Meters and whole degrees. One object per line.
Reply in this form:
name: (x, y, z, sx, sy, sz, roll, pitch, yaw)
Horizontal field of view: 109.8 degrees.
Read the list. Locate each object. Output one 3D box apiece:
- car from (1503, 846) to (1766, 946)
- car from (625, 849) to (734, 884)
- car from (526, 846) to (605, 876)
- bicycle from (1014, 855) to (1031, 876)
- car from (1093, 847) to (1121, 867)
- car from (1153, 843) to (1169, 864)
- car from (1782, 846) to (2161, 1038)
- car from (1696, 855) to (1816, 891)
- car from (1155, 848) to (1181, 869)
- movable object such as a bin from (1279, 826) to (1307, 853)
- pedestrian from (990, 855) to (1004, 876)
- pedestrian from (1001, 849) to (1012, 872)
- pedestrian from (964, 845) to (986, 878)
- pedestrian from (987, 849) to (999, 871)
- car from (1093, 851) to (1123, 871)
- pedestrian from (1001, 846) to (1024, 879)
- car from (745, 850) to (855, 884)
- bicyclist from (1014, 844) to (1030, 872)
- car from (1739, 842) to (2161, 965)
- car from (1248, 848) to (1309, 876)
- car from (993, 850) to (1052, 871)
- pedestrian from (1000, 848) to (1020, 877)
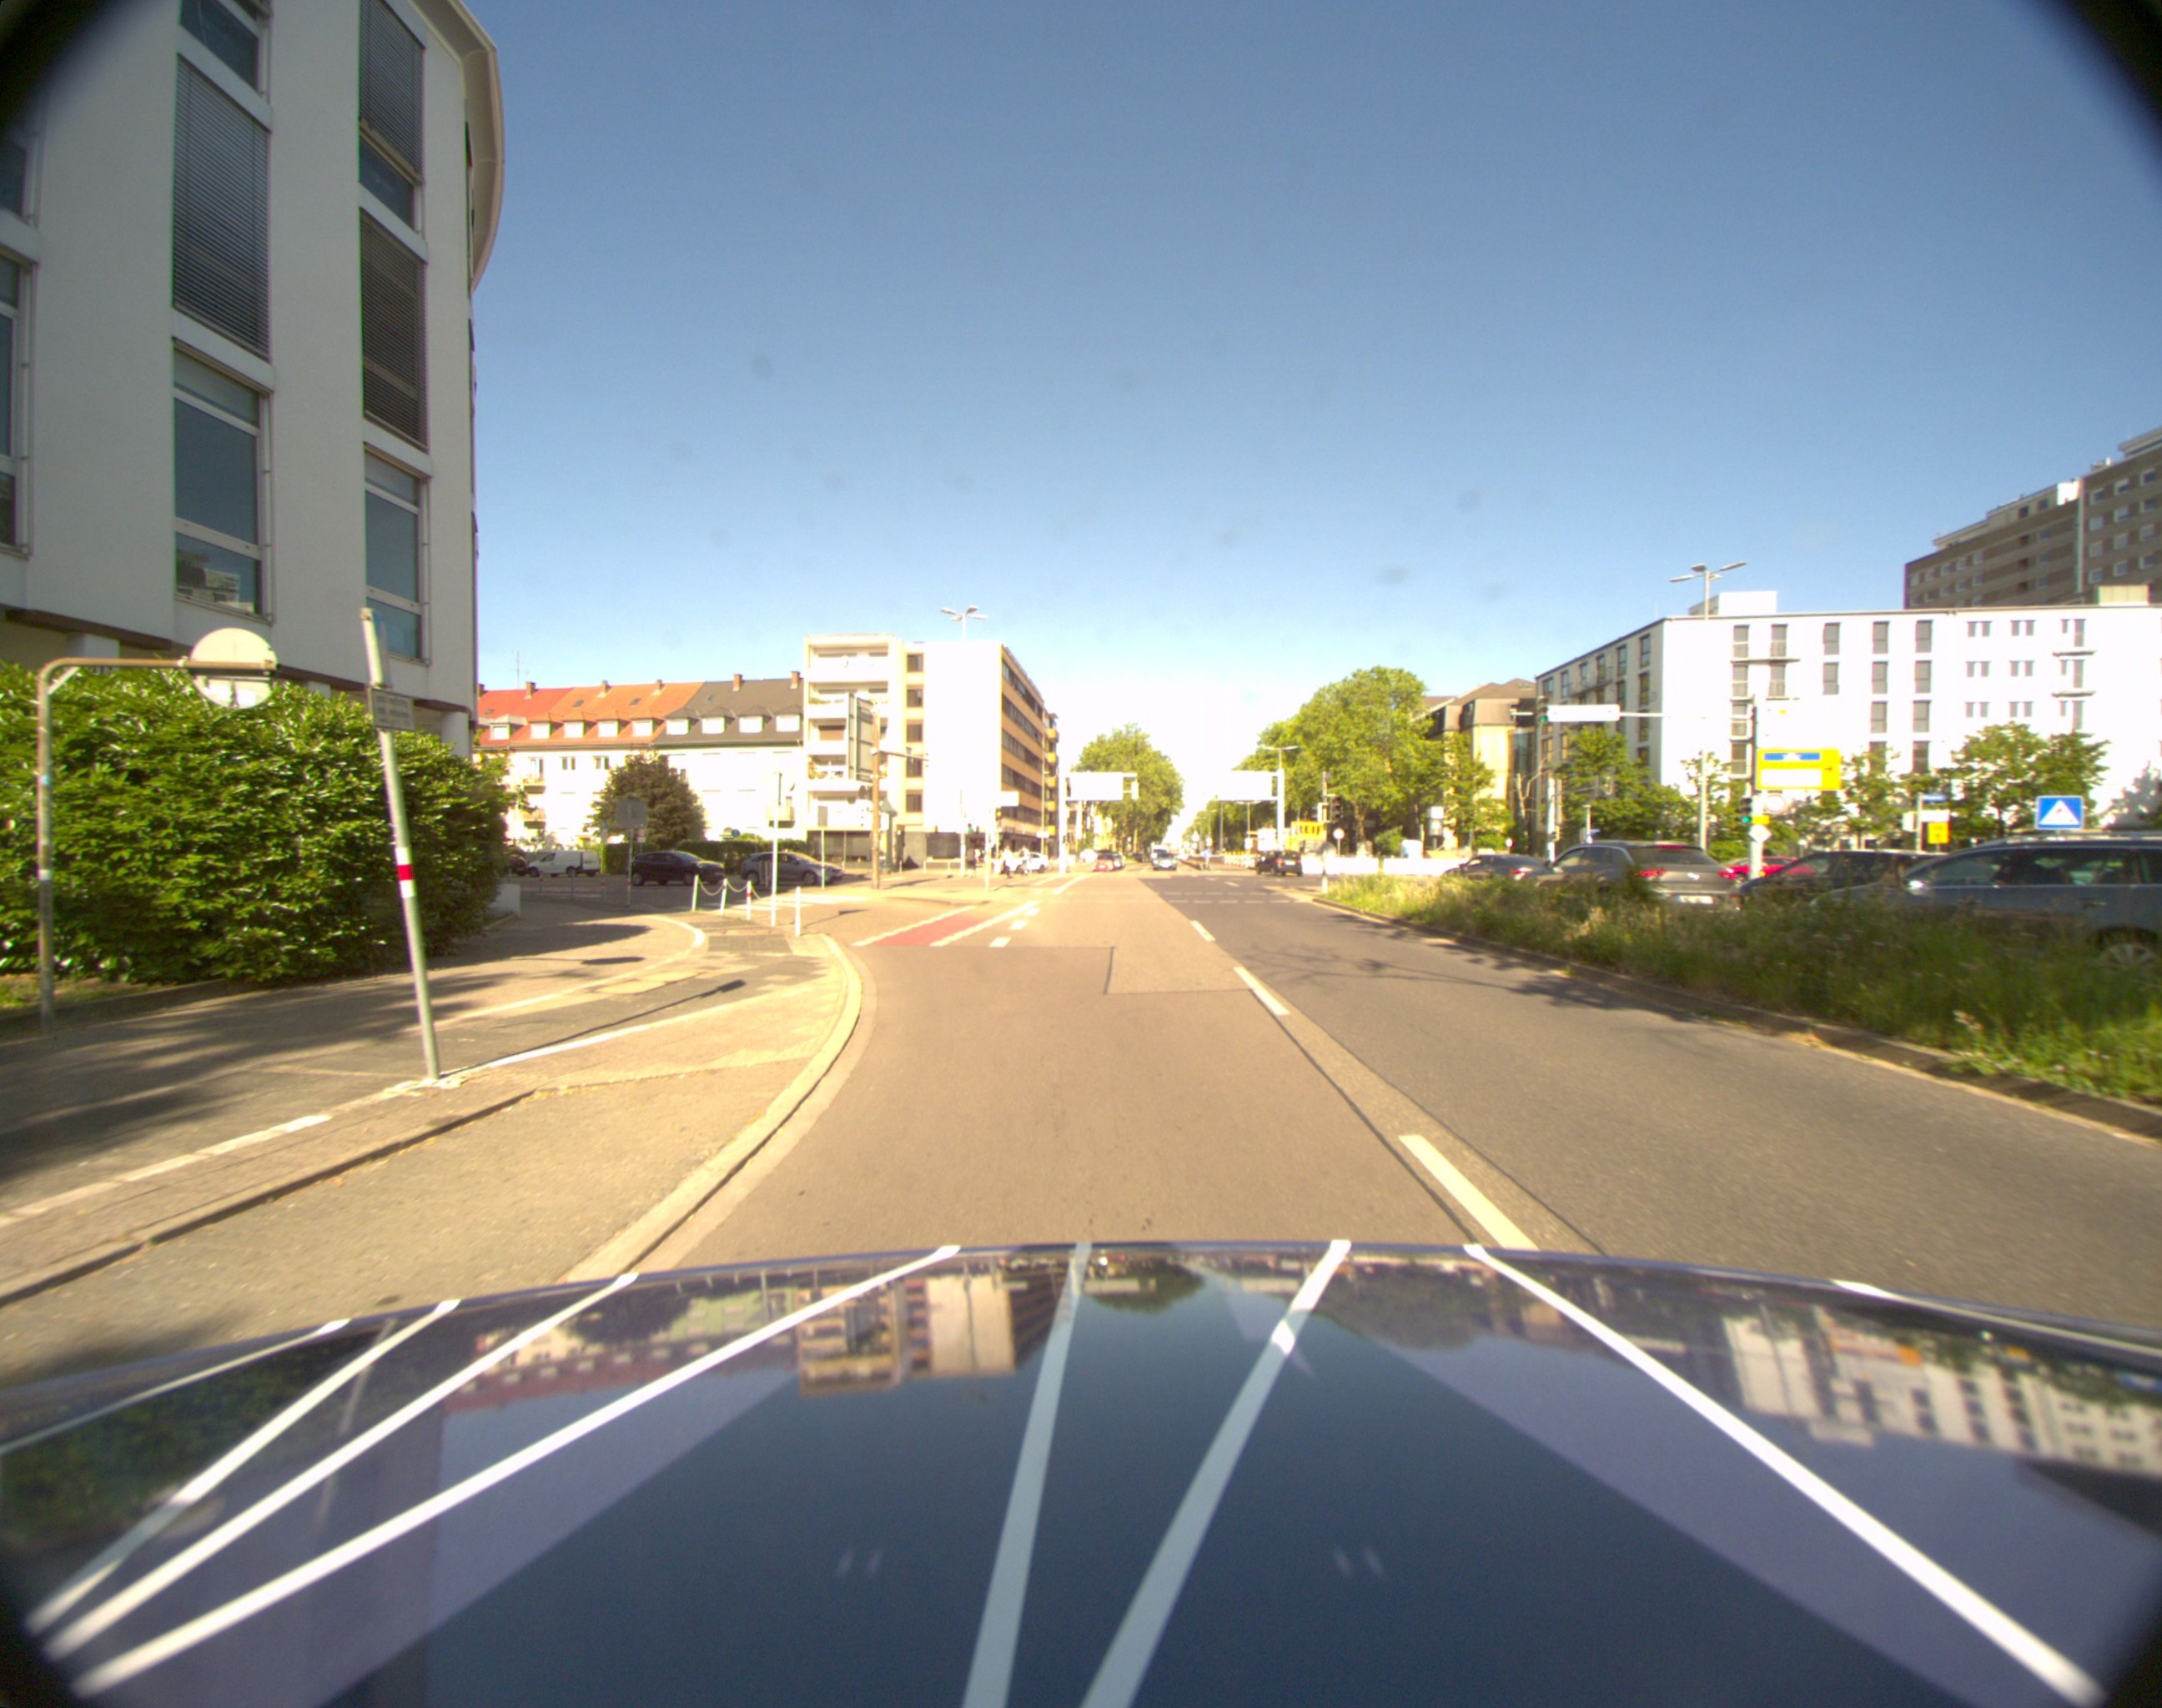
car: (9.768, 0.633, 13.937, 1.800, 1.510, 4.347, -1, 1, 3)
car: (-17.874, 0.561, 33.905, 4.068, 1.483, 1.697, 0, 1, 10)
car: (-34.153, 0.471, 50.370, 4.161, 1.848, 1.805, -1, 3, 9)
bicycle: (-3.228, 0.618, 42.161, 0.867, 0.985, 1.901, -1, 3, -3)
car: (2.299, 0.264, 67.083, 1.881, 1.511, 4.001, 0, 3, 10)
car: (9.606, -0.059, 91.747, 1.882, 2.498, 4.452, 0, 1, 5)
car: (9.529, 0.690, 7.238, 1.800, 1.510, 4.364, -1, 0, 3)
car: (33.553, 0.932, 37.895, 3.993, 1.609, 1.920, 0, 3, 12)
car: (7.279, 0.360, 63.170, 1.881, 1.511, 4.001, 0, 3, 10)
movable object such as a bin: (20.314, -1.408, 72.822, 1.997, 2.462, 4.000, -1, 3, 7)
pedestrian: (-4.911, 0.674, 44.247, 0.647, 1.196, 0.526, 0, 4, 14)
pedestrian: (-5.775, 0.501, 58.913, 0.719, 1.670, 0.696, -1, 4, 5)
pedestrian: (-5.533, 0.391, 39.602, 0.798, 1.635, 0.982, -3, 4, -31)
pedestrian: (-6.774, 0.448, 58.230, 0.720, 1.670, 0.695, -3, 4, -23)
car: (2.212, 0.533, 61.960, 1.881, 1.510, 4.003, 0, 1, 10)
pedestrian: (-3.489, 0.432, 38.654, 0.788, 1.599, 0.927, -3, 4, -31)
car: (-12.192, 0.540, 33.069, 4.051, 1.400, 1.885, 0, 1, 10)
bicyclist: (-3.248, 0.210, 42.134, 0.870, 1.525, 0.852, -1, 2, -4)
car: (12.834, 0.589, 11.687, 1.800, 1.510, 4.347, -1, 1, 3)
car: (11.653, 0.430, 45.108, 1.863, 1.576, 4.273, 0, 0, -11)
car: (-4.302, 0.483, 56.325, 1.879, 1.510, 4.560, -1, -1, 35)
pedestrian: (-4.067, 0.487, 43.583, 0.896, 1.614, 0.721, 0, 4, 14)
